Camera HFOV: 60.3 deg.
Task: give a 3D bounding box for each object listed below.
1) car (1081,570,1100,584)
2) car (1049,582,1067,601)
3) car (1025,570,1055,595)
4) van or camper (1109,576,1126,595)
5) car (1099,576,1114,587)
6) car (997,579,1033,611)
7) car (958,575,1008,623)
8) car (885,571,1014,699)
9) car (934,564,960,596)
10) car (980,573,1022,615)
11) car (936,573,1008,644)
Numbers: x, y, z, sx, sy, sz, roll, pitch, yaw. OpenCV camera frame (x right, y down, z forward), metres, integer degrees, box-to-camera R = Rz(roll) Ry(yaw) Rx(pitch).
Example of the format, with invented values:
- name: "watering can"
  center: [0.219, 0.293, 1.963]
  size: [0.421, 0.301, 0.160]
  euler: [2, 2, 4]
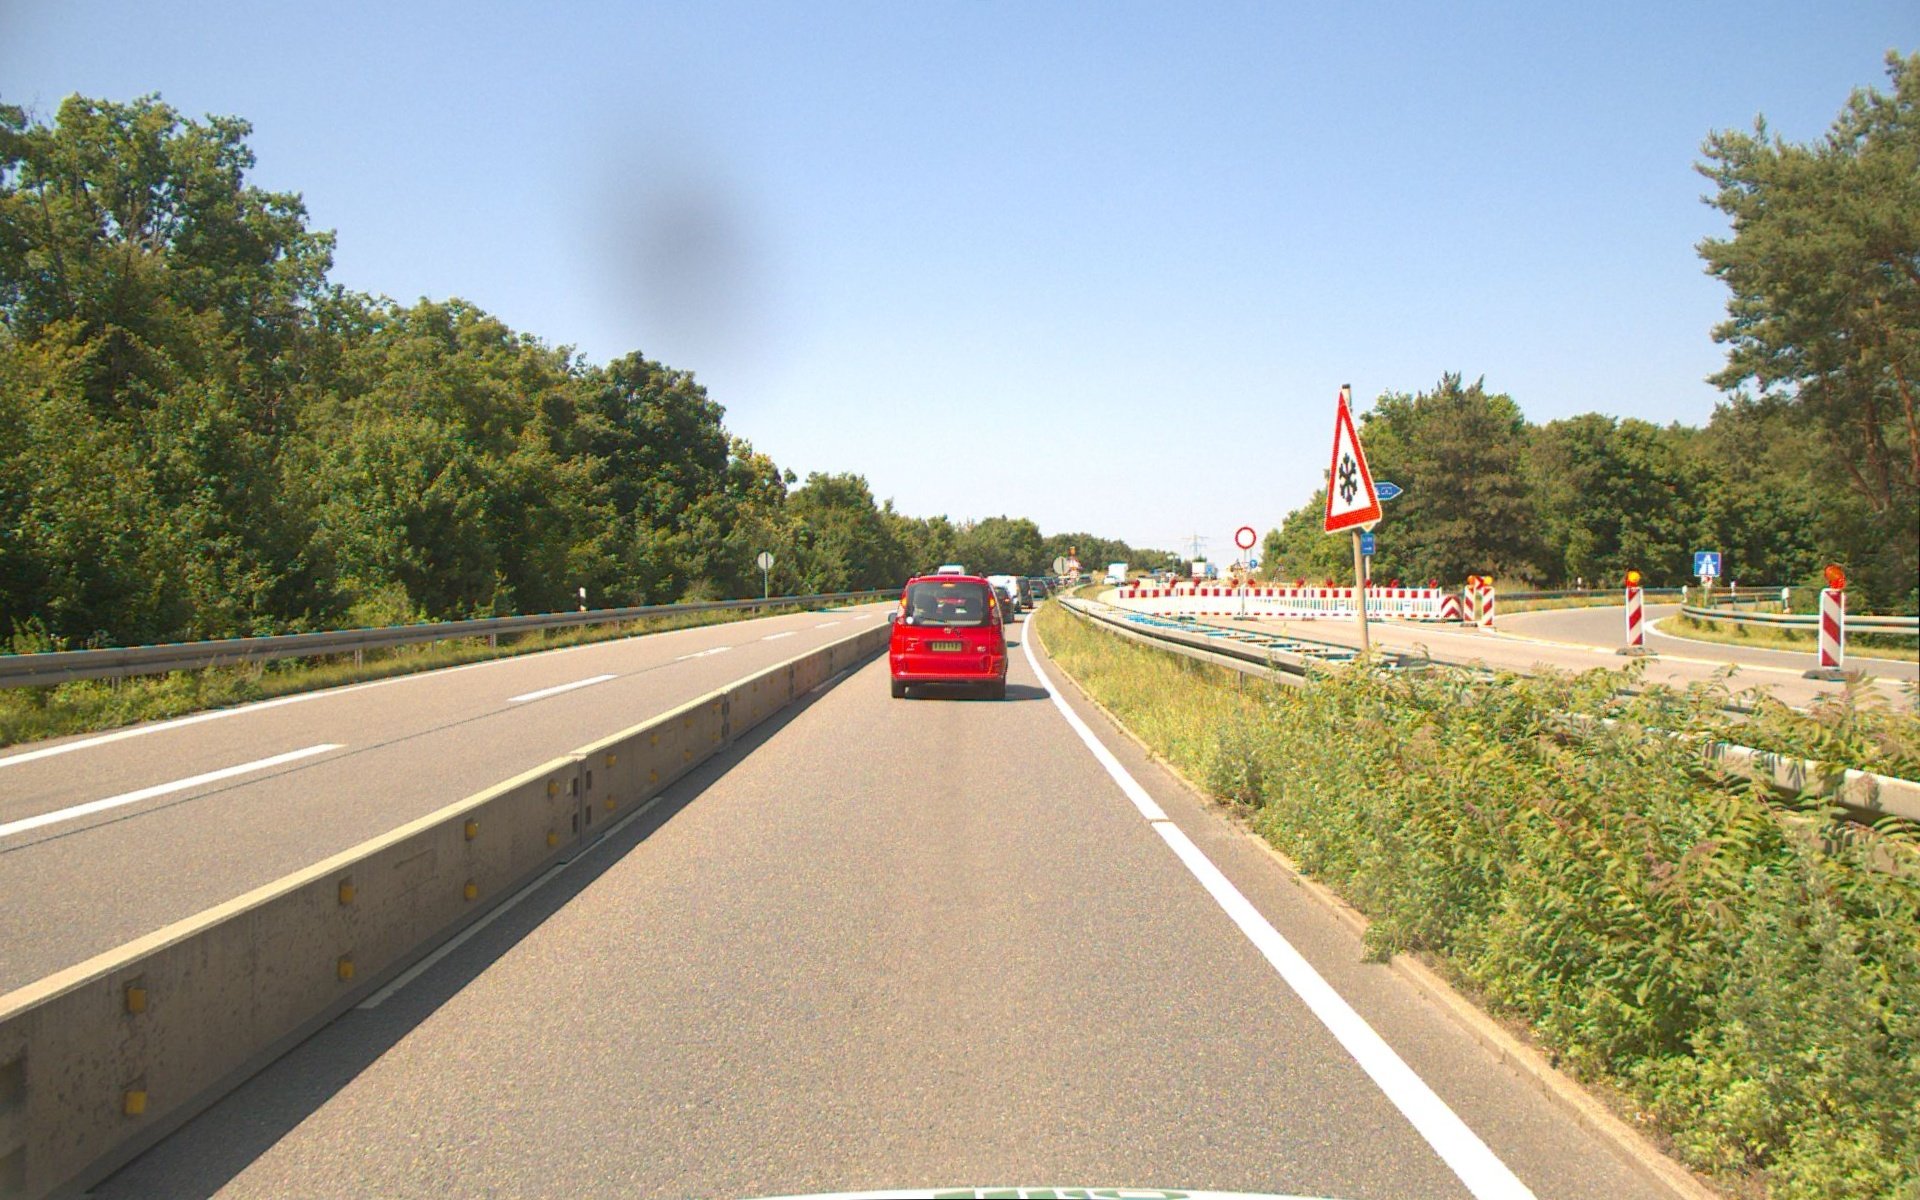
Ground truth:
- name: "car"
  center: [15.332, -2.738, 194.116]
  size: [1.951, 1.579, 4.003]
  euler: [-1, 0, 6]
- name: "car"
  center: [9.387, -0.813, 158.150]
  size: [1.470, 1.767, 3.172]
  euler: [-1, 0, 7]
- name: "car"
  center: [5.914, -1.277, 122.731]
  size: [1.953, 1.814, 4.000]
  euler: [-1, 0, -1]
- name: "van or camper"
  center: [22.766, -2.141, 239.489]
  size: [2.279, 2.754, 4.596]
  euler: [-1, 0, 4]
- name: "car"
  center: [20.243, -2.555, 228.175]
  size: [1.951, 1.512, 4.003]
  euler: [-1, 0, 5]
- name: "car"
  center: [3.152, -0.311, 95.517]
  size: [1.952, 1.780, 4.000]
  euler: [0, 0, 1]
- name: "car"
  center: [0.965, -0.059, 66.794]
  size: [1.952, 1.870, 4.001]
  euler: [0, 0, 2]
- name: "car"
  center: [-0.180, 0.448, 24.070]
  size: [1.716, 1.702, 3.999]
  euler: [0, 0, -1]
- name: "car"
  center: [-1.056, -1.588, 133.935]
  size: [2.019, 2.528, 5.561]
  euler: [0, 1, 0]
- name: "car"
  center: [2.020, -0.311, 82.964]
  size: [1.953, 2.038, 4.000]
  euler: [0, 0, -1]
- name: "car"
  center: [0.318, 0.209, 43.258]
  size: [1.793, 1.752, 4.000]
  euler: [-1, 0, 0]
